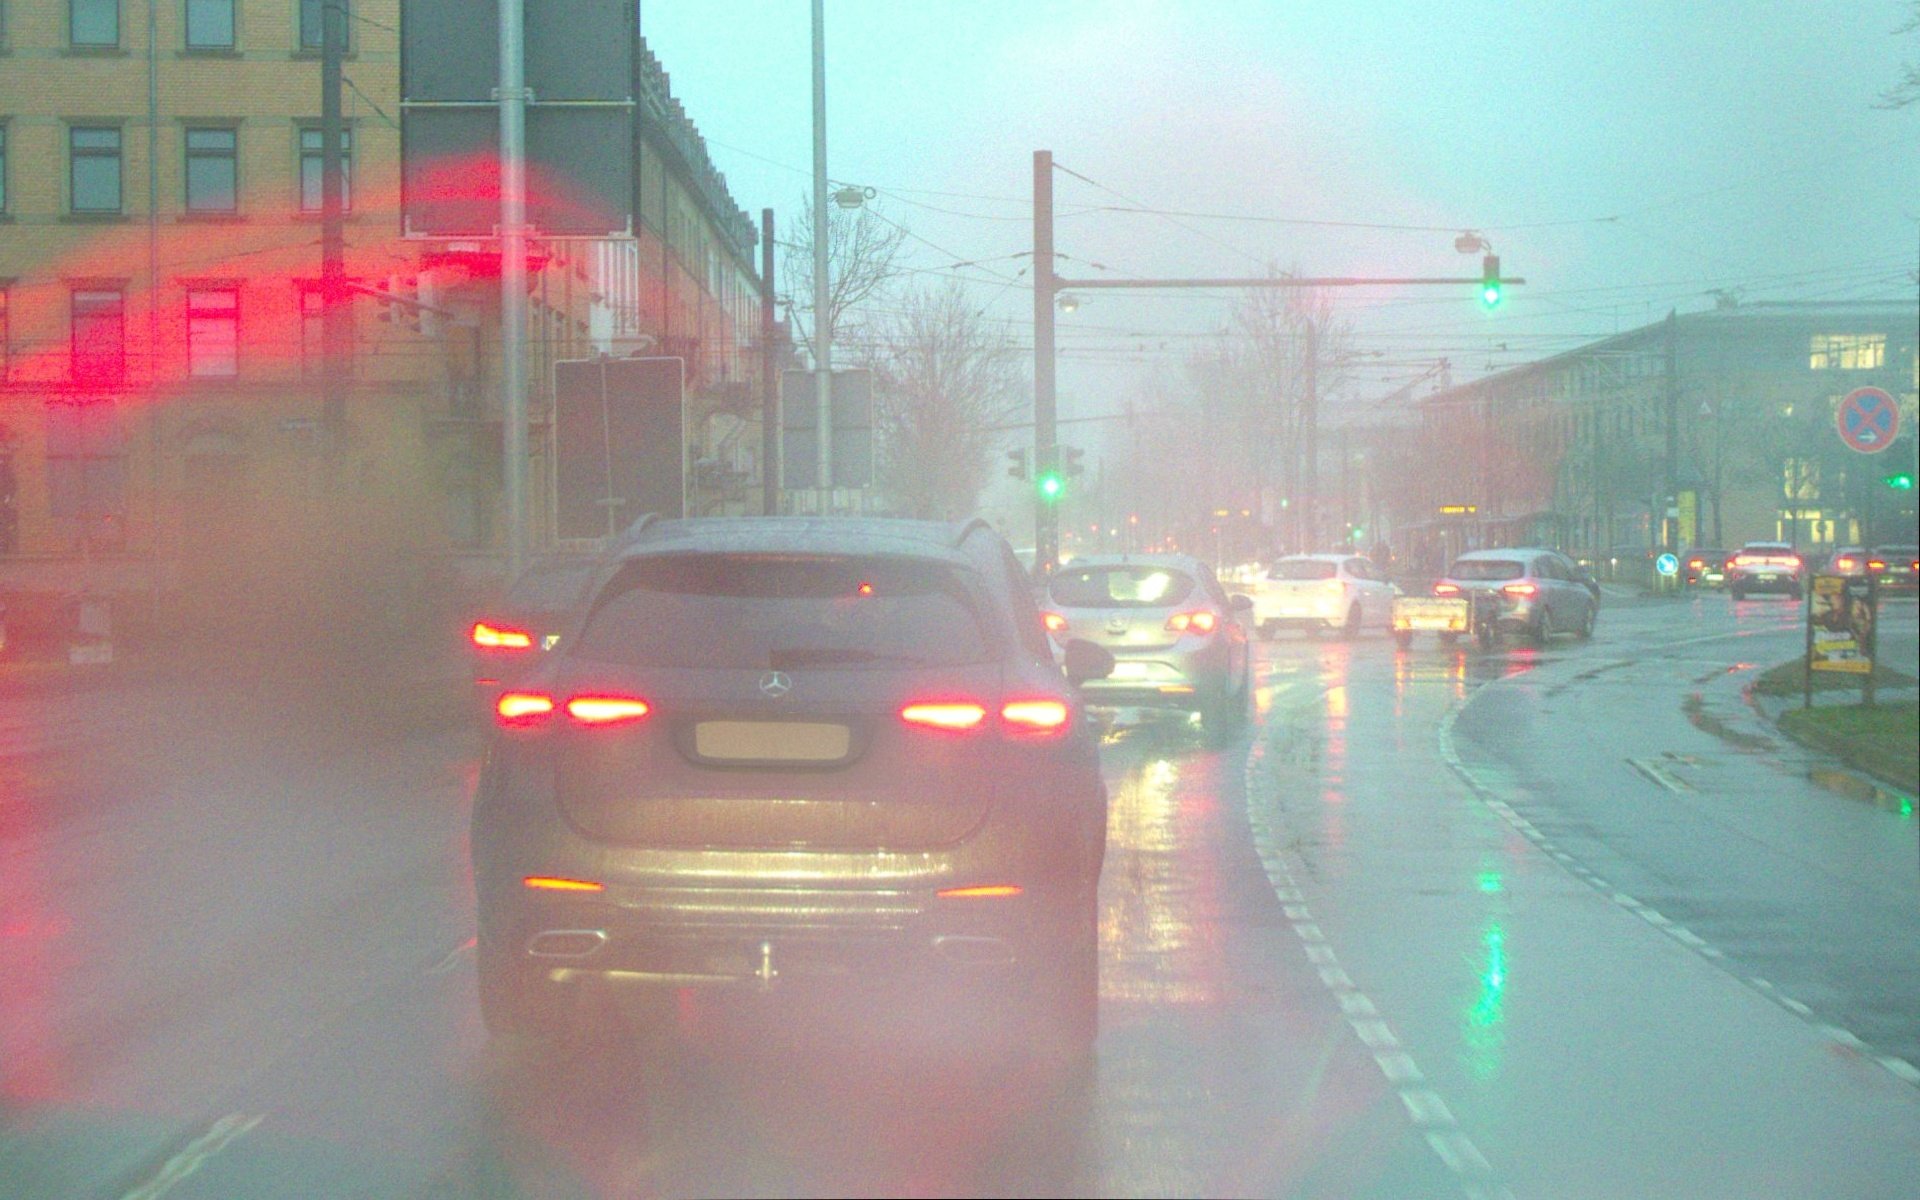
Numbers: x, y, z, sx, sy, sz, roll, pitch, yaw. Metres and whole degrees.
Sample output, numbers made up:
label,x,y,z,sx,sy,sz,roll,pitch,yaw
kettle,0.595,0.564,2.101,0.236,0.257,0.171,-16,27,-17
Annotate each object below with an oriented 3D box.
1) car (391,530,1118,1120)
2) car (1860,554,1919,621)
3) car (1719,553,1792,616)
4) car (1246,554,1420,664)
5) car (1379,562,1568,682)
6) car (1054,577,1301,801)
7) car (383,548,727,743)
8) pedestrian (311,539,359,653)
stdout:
label,x,y,z,sx,sy,sz,roll,pitch,yaw
car,-0.565,0.584,11.513,1.991,1.610,4.000,-1,1,0
car,23.725,-0.342,86.964,1.746,1.606,3.997,0,1,16
car,21.679,-0.436,93.632,1.746,1.606,3.997,0,1,16
car,6.394,0.131,58.528,1.995,1.759,3.996,0,1,21
car,8.128,0.322,54.140,1.996,1.759,3.995,0,1,23
car,1.917,0.715,30.069,1.994,1.759,4.000,-1,1,4
car,-3.110,0.307,27.258,1.994,1.393,4.000,-1,1,4
pedestrian,-9.724,-0.069,53.486,0.467,1.766,0.628,0,1,21
